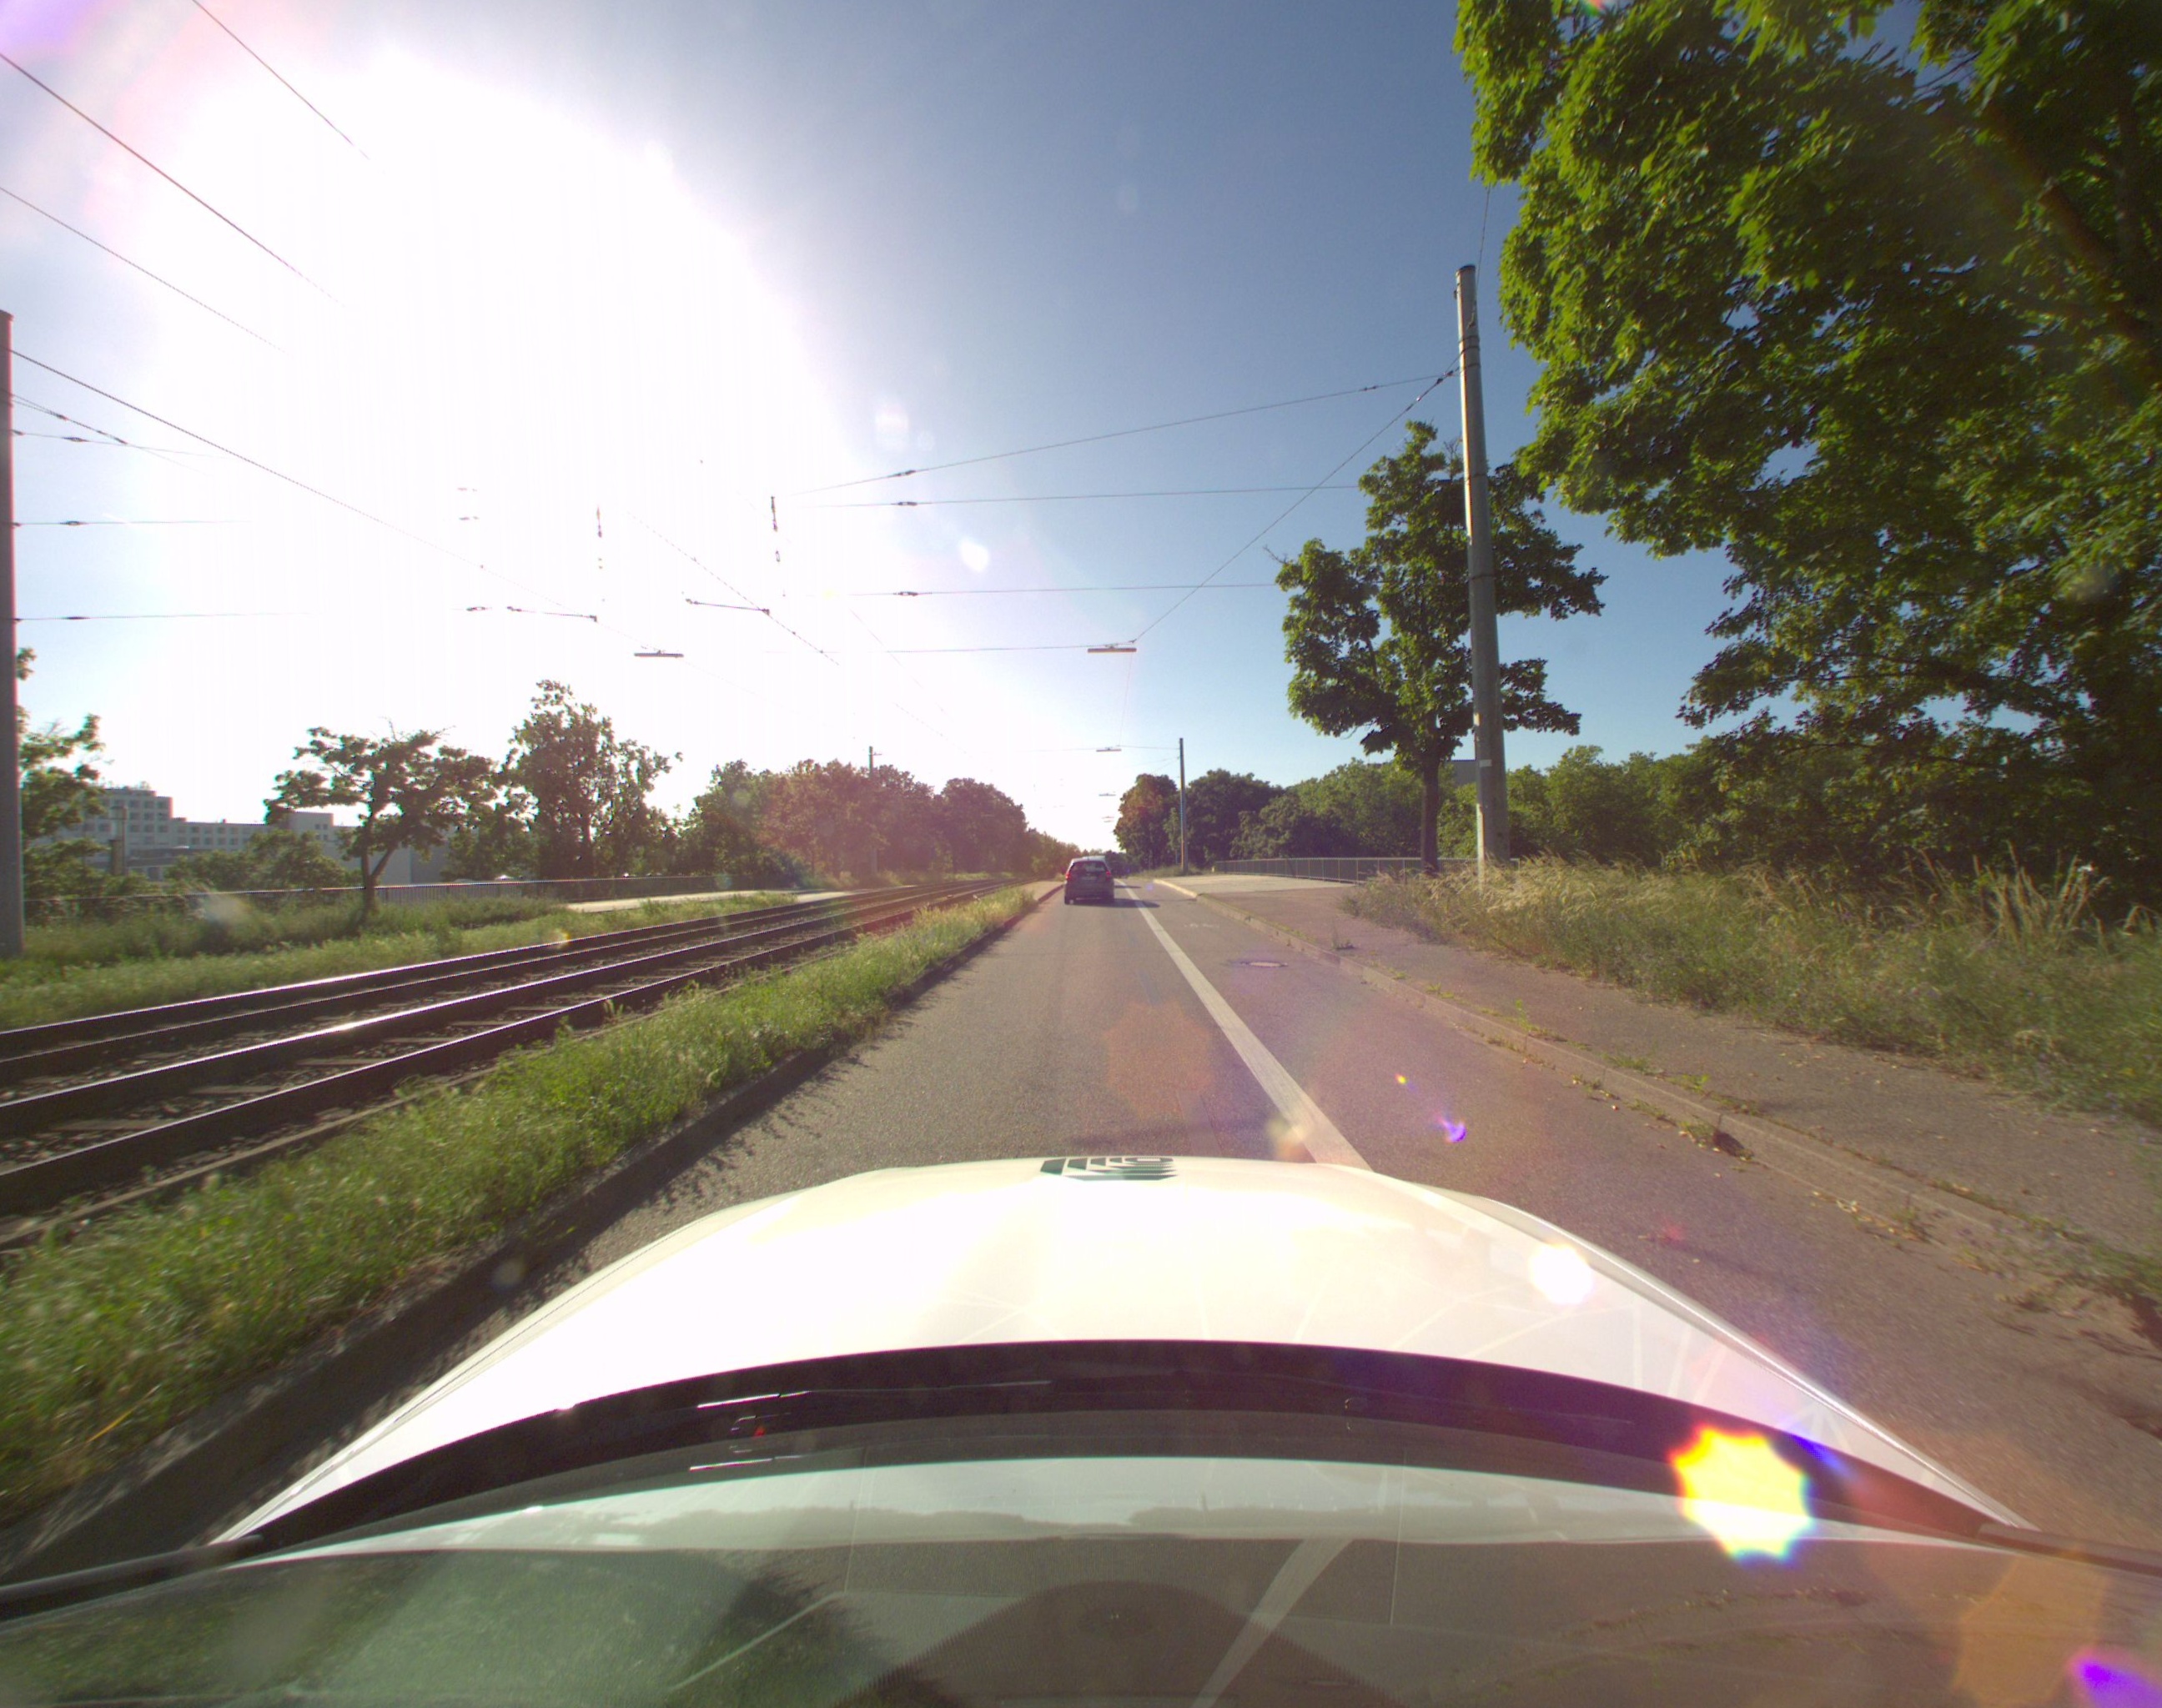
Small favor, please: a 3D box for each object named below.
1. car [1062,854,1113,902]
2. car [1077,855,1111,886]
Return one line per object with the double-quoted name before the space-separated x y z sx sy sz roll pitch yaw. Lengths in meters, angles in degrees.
"car" 0.252 0.793 28.266 1.664 1.507 3.812 0 0 1
"car" 0.719 0.828 42.897 1.648 1.507 3.813 0 0 2
